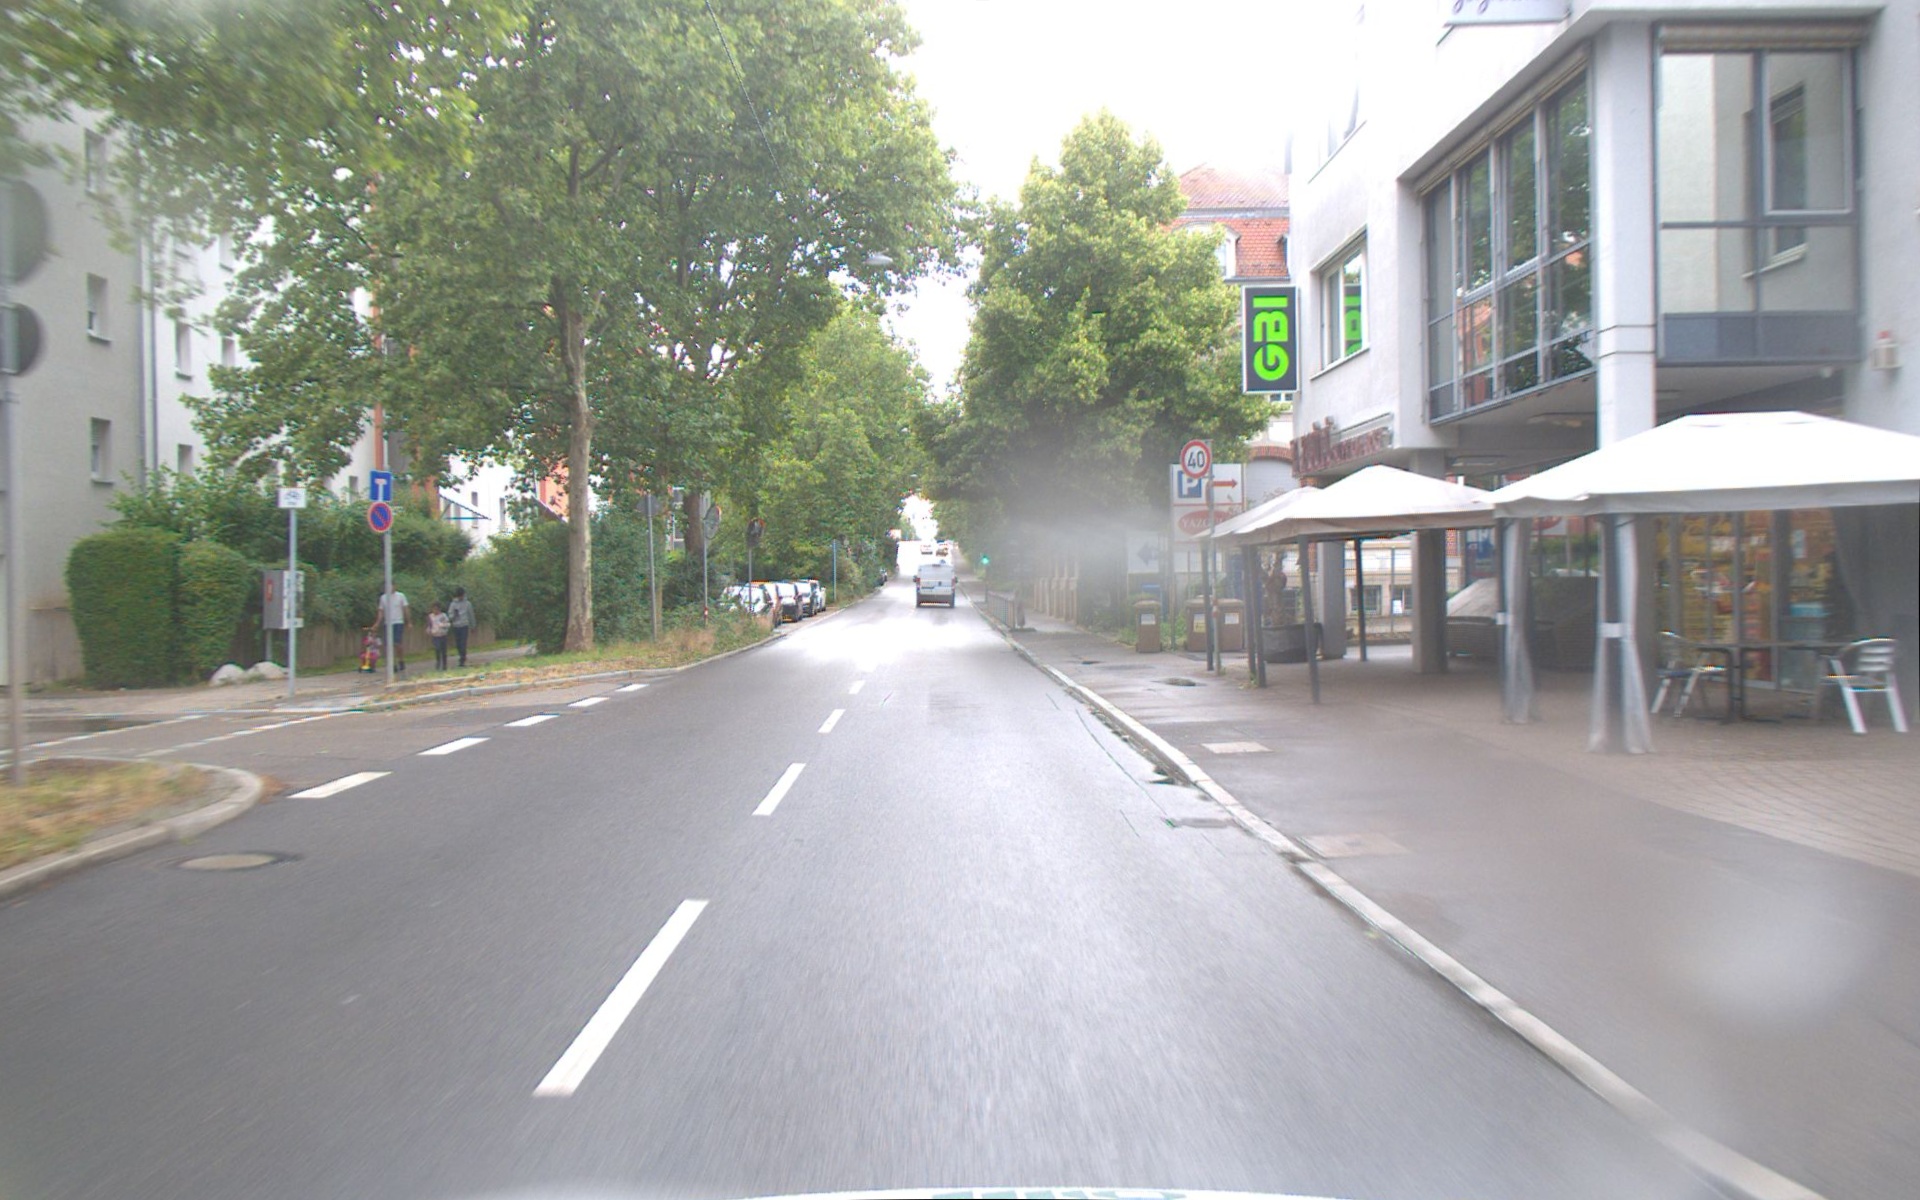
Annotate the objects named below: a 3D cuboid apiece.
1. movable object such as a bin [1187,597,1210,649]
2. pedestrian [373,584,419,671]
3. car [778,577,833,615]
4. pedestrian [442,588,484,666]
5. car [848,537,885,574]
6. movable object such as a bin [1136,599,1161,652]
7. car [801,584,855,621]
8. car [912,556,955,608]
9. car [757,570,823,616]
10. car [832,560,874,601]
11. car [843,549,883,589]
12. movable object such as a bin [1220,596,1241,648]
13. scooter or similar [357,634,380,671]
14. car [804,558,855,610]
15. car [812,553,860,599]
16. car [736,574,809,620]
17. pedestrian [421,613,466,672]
[{"bbox_3d":[5.015,0.475,34.748,0.392,1.085,0.358,0,-2,-7],"label":"movable object such as a bin"},{"bbox_3d":[-10.747,0.527,31.525,0.626,1.640,0.622,1,-2,-4],"label":"pedestrian"},{"bbox_3d":[-7.101,-0.171,76.347,1.954,1.570,4.609,1,-1,1],"label":"car"},{"bbox_3d":[-10.263,0.556,34.190,0.667,1.598,0.622,1,-1,-4],"label":"pedestrian"},{"bbox_3d":[-6.564,-3.122,116.643,2.170,2.334,4.609,1,-2,1],"label":"car"},{"bbox_3d":[3.964,0.528,34.747,0.392,1.085,0.358,-3,-1,-7],"label":"movable object such as a bin"},{"bbox_3d":[-6.536,0.150,82.518,2.170,1.721,4.609,1,-1,1],"label":"car"},{"bbox_3d":[-1.371,-0.899,87.353,2.236,2.597,3.999,0,-2,-1],"label":"car"},{"bbox_3d":[-7.122,-0.264,69.917,2.170,1.759,4.609,1,-1,1],"label":"car"},{"bbox_3d":[-6.618,-1.208,102.881,2.170,2.334,4.609,1,-2,1],"label":"car"},{"bbox_3d":[-6.358,-2.009,108.941,2.170,2.334,4.609,1,-2,1],"label":"car"},{"bbox_3d":[5.691,0.460,34.782,0.349,1.085,0.358,1,-2,-7],"label":"movable object such as a bin"},{"bbox_3d":[-11.227,0.994,31.381,0.301,0.693,0.388,1,-2,-3],"label":"scooter or similar"},{"bbox_3d":[-6.868,-0.800,87.528,2.170,2.578,4.609,1,-2,1],"label":"car"},{"bbox_3d":[-6.876,-1.322,92.394,2.170,2.334,4.609,1,-2,1],"label":"car"},{"bbox_3d":[-7.160,-0.083,63.618,2.170,1.620,4.609,1,-1,1],"label":"car"},{"bbox_3d":[-9.972,0.822,31.929,0.667,1.127,0.622,1,-2,-4],"label":"pedestrian"}]
